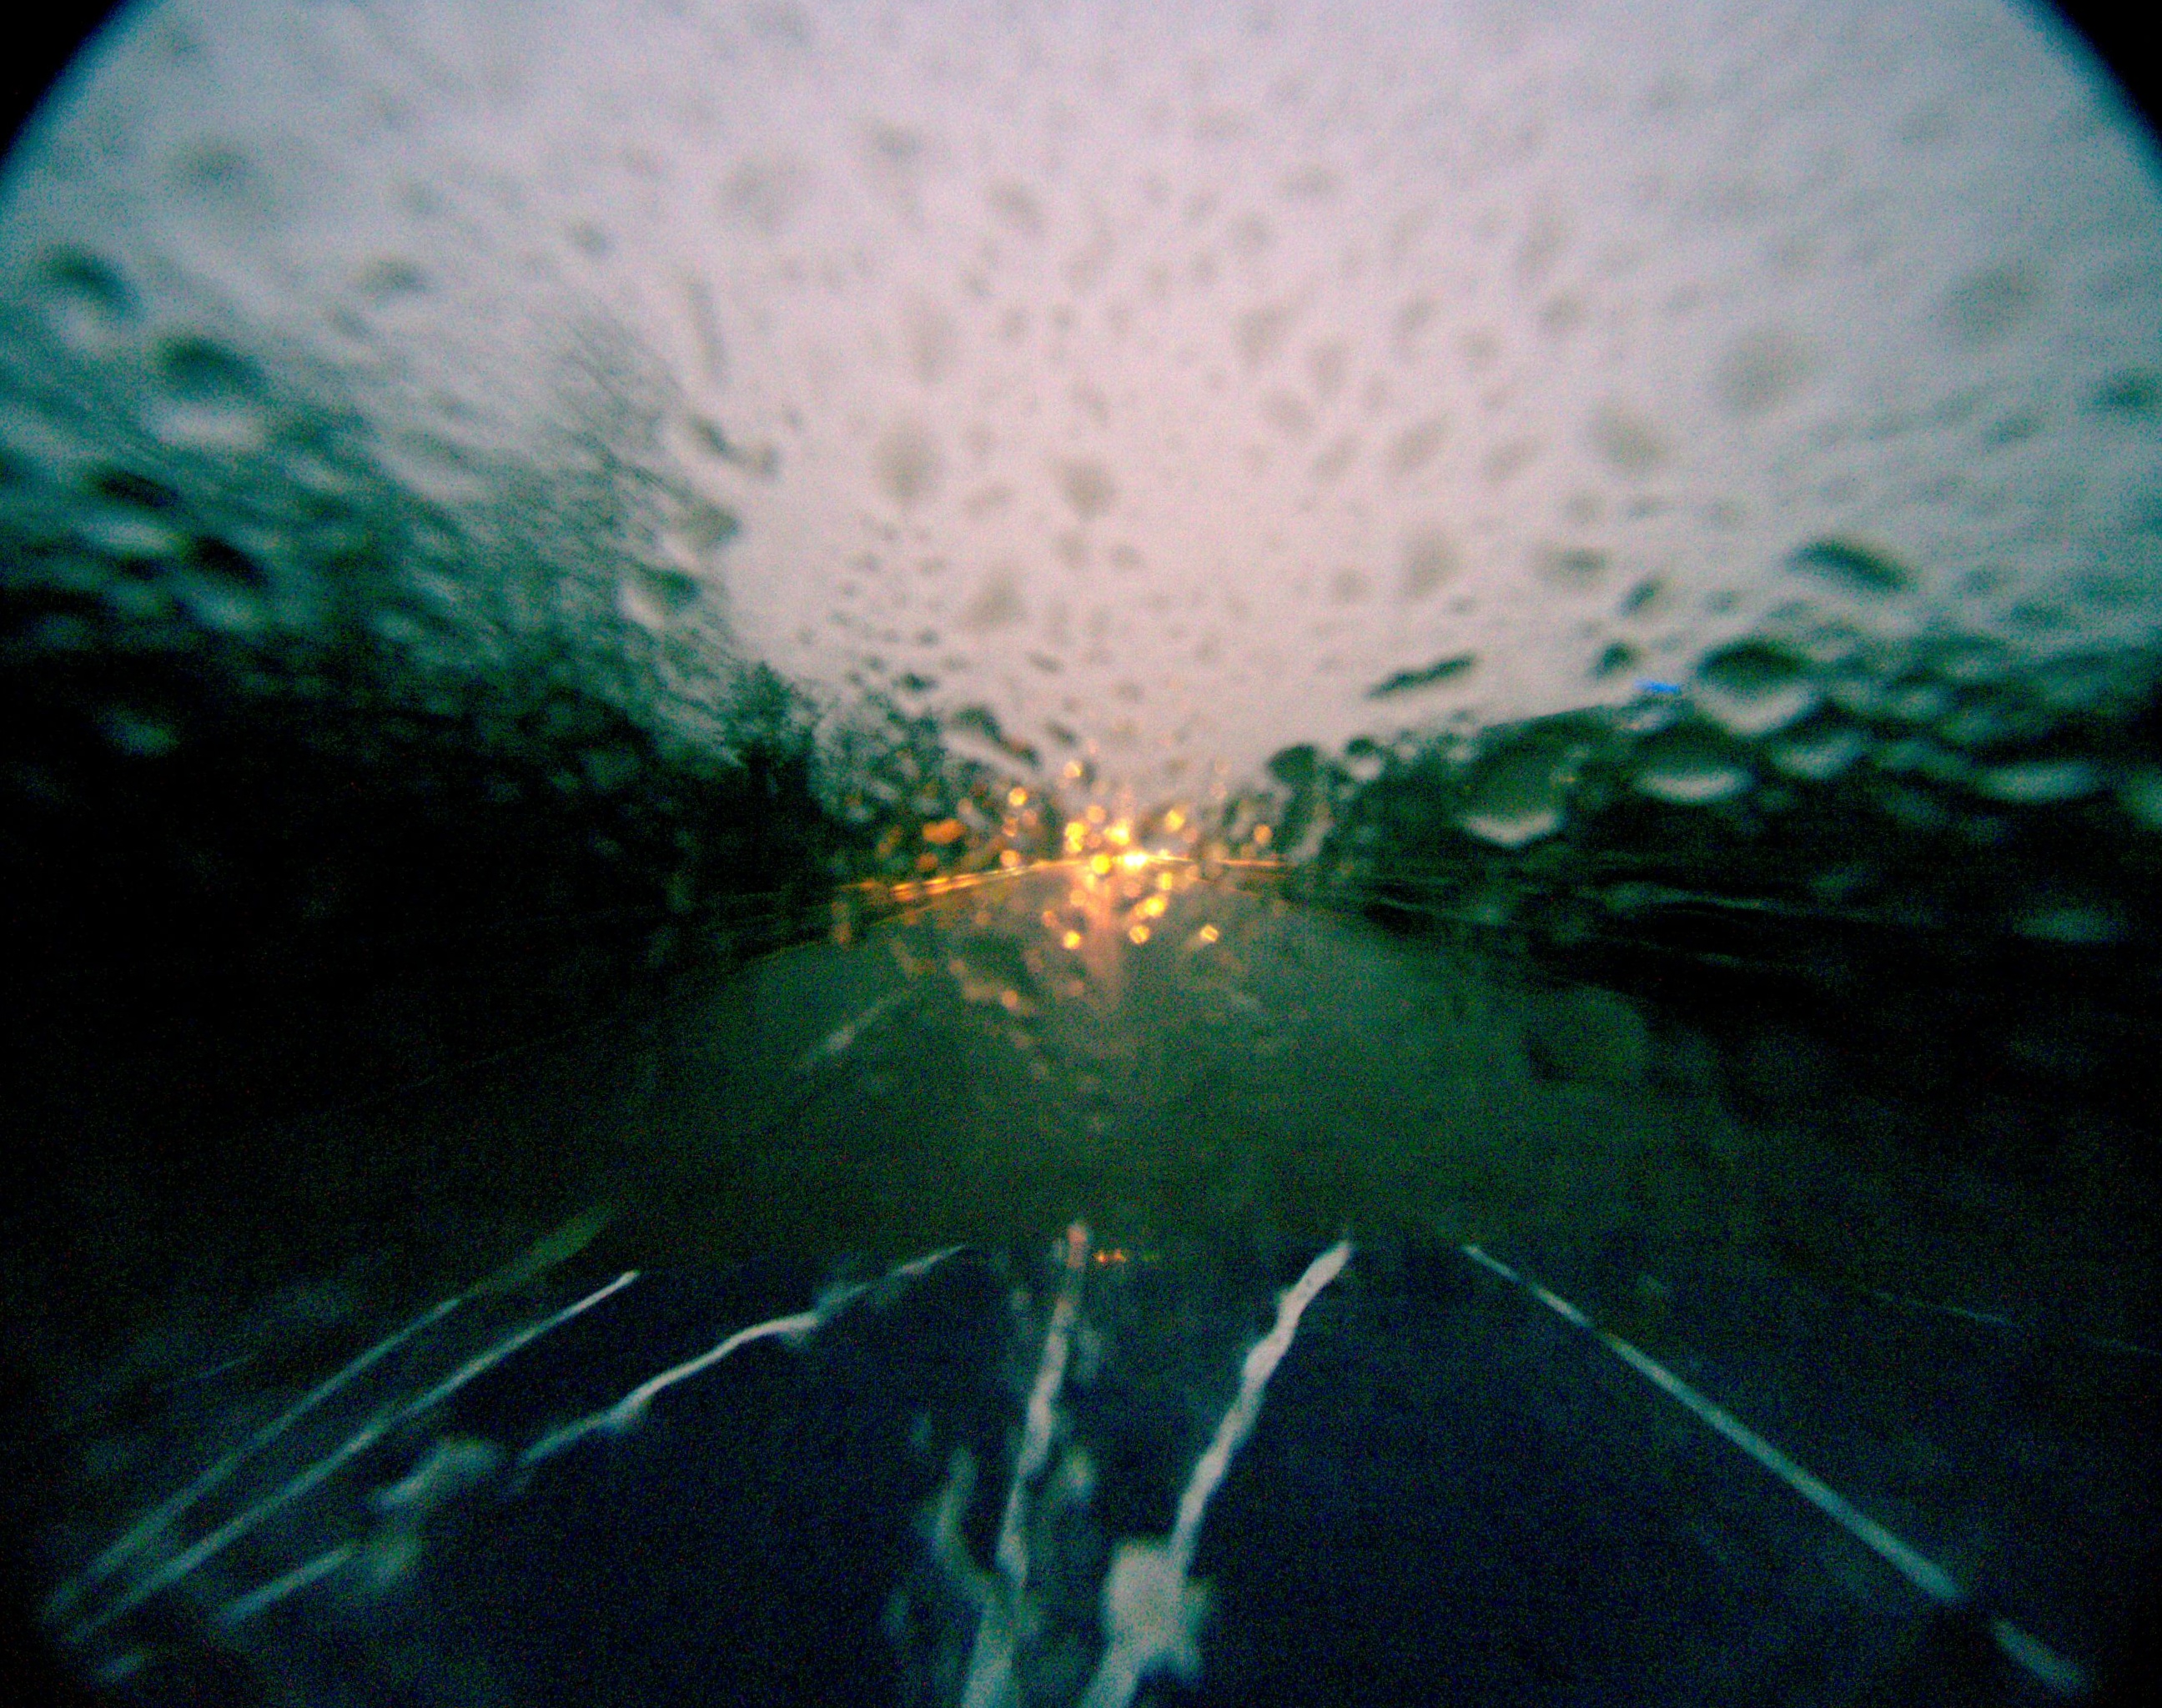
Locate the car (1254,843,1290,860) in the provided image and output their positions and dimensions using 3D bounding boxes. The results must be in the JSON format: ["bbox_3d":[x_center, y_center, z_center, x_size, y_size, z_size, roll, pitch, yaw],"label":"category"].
[{"bbox_3d":[22.521,-0.251,89.732,1.855,1.675,3.992,-4,0,-27],"label":"car"}]

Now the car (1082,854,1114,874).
[{"bbox_3d":[1.497,0.808,63.514,1.951,1.511,4.791,-2,0,9],"label":"car"}]
